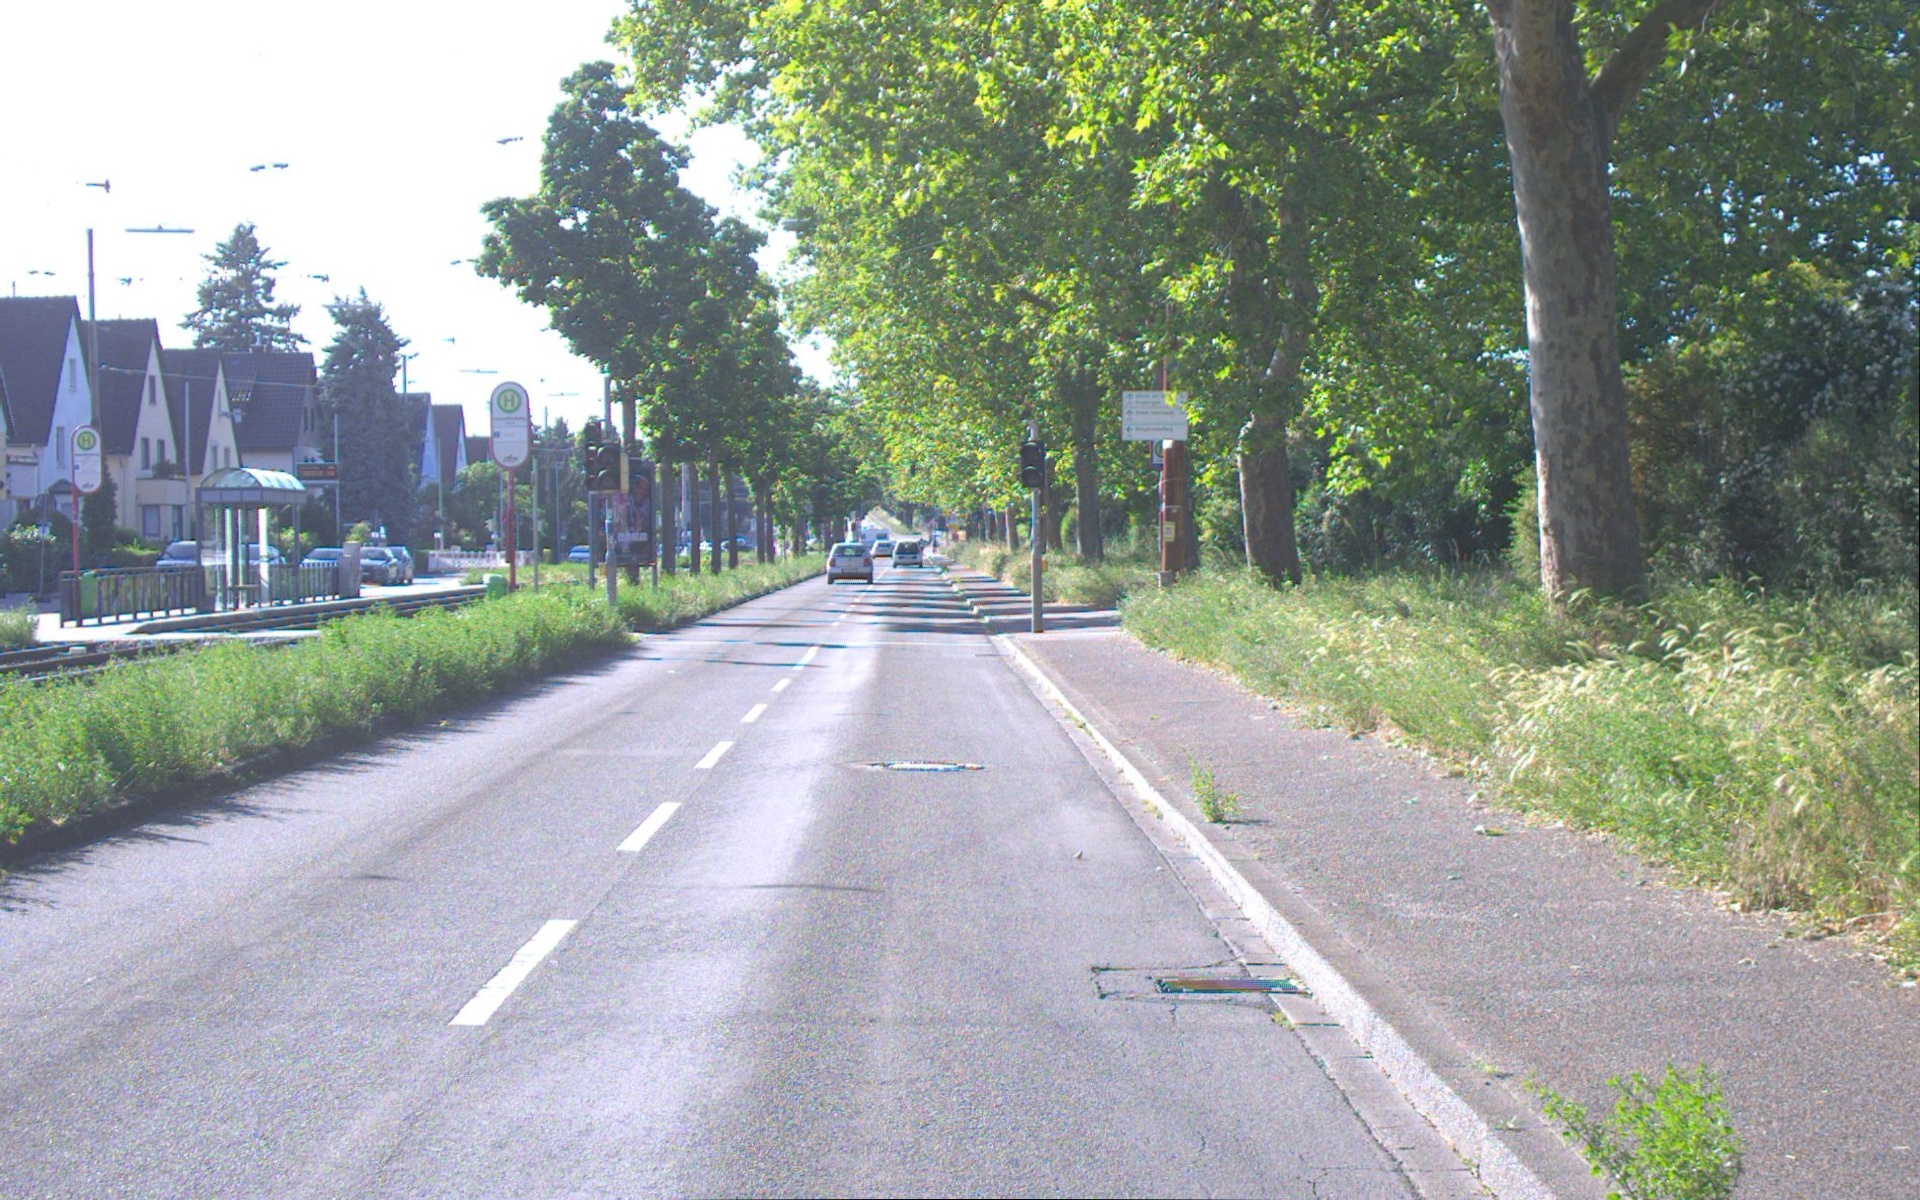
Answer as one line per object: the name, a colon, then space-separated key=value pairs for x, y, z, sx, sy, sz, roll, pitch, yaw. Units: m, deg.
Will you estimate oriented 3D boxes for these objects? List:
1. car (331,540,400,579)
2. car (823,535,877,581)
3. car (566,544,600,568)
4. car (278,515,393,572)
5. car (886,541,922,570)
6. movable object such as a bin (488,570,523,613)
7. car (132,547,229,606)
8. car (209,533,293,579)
car: x=-23.597 y=-1.606 z=136.586 sx=1.993 sy=1.445 sz=4.128 roll=3 pitch=1 yaw=-1
car: x=-3.885 y=-1.491 z=122.154 sx=1.860 sy=1.595 sz=4.228 roll=1 pitch=1 yaw=-1
car: x=-24.648 y=-2.894 z=224.946 sx=1.860 sy=1.537 sz=4.228 roll=1 pitch=1 yaw=-1
car: x=-29.460 y=-2.677 z=162.232 sx=5.028 sy=2.616 sz=2.103 roll=0 pitch=1 yaw=-1
car: x=-3.139 y=-2.491 z=192.119 sx=1.993 sy=1.598 sz=4.474 roll=1 pitch=1 yaw=-1
movable object such as a bin: x=-6.231 y=-0.119 z=47.143 sx=0.386 sy=0.580 sz=0.379 roll=1 pitch=0 yaw=8
car: x=-23.521 y=-0.727 z=103.858 sx=1.993 sy=1.707 sz=4.391 roll=1 pitch=1 yaw=-1
car: x=-23.428 y=-1.451 z=113.734 sx=1.926 sy=1.490 sz=4.256 roll=1 pitch=1 yaw=-1
